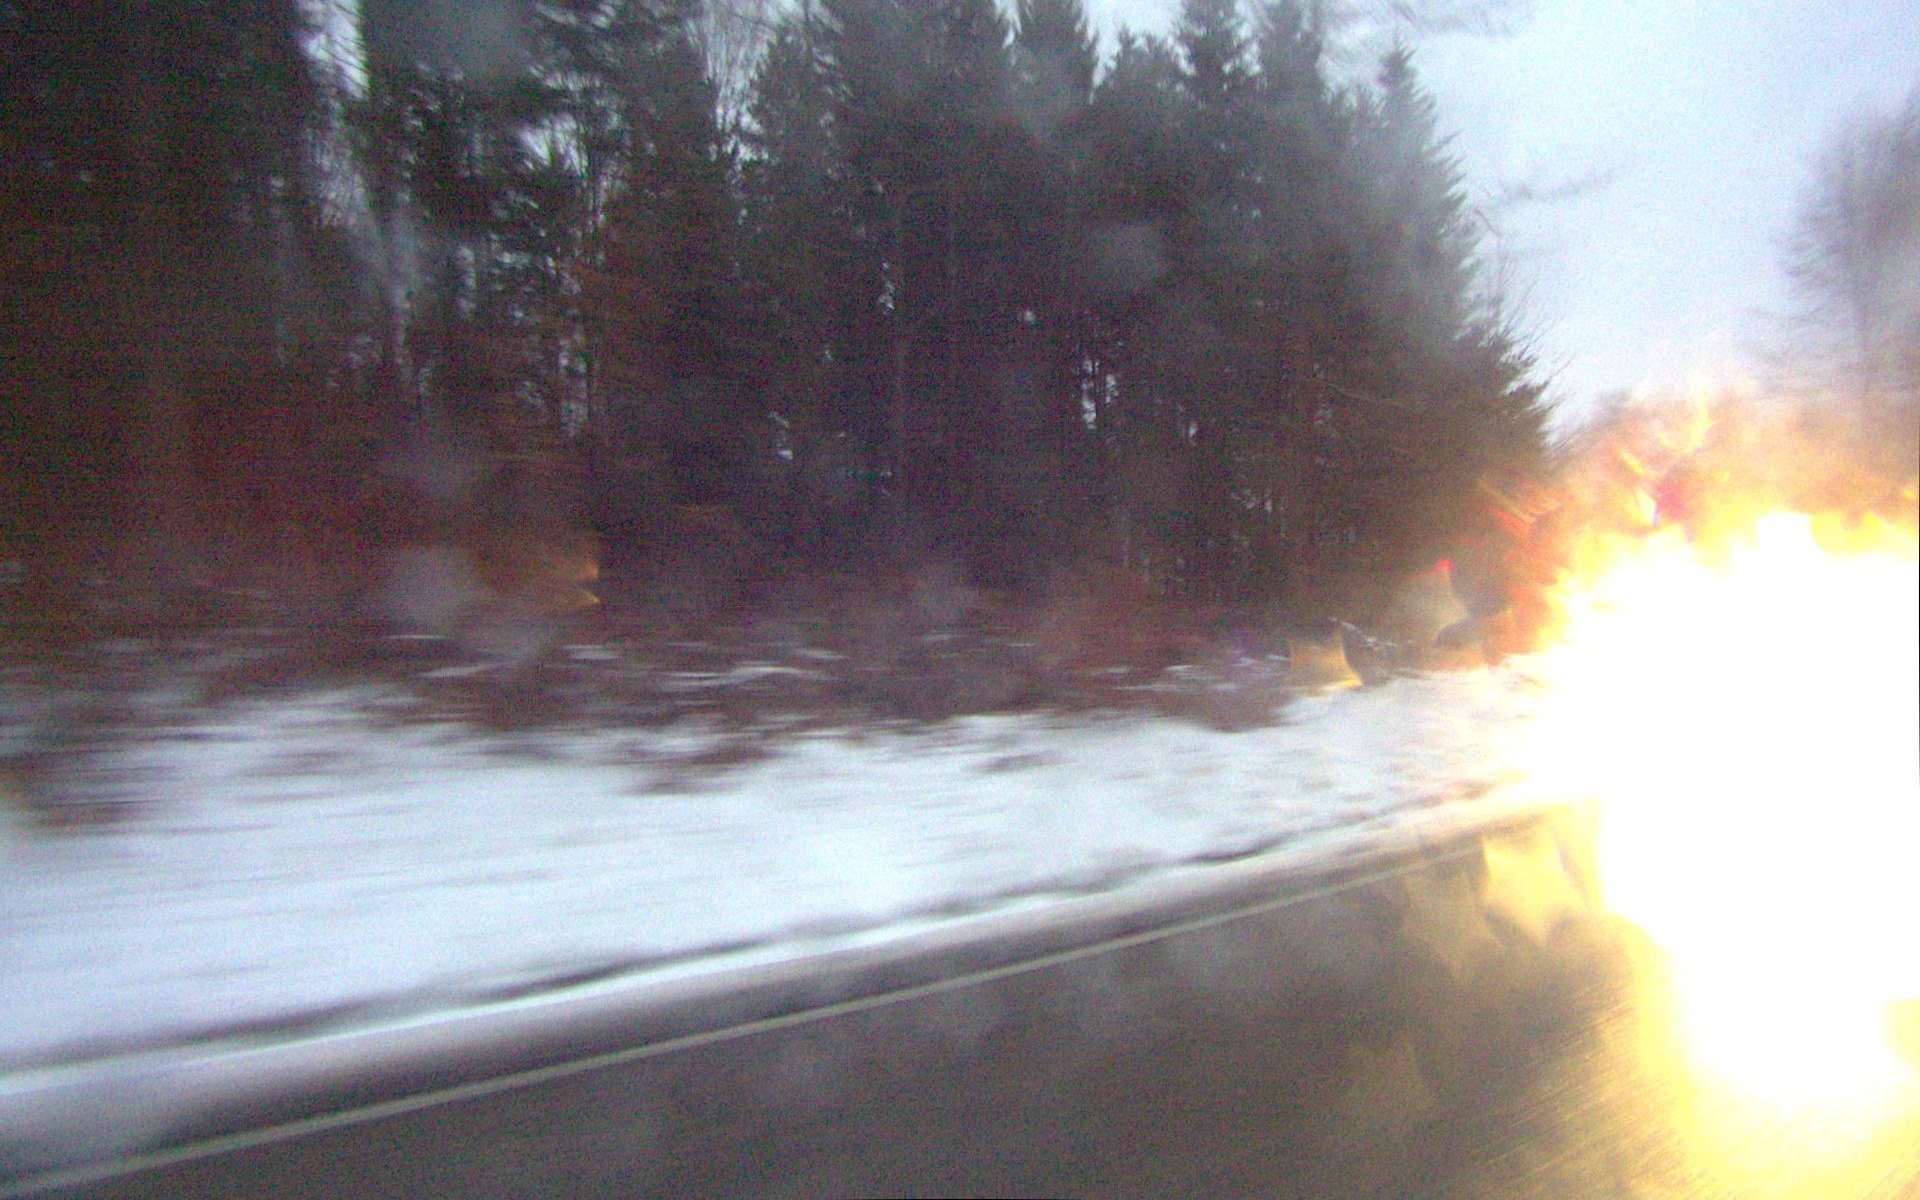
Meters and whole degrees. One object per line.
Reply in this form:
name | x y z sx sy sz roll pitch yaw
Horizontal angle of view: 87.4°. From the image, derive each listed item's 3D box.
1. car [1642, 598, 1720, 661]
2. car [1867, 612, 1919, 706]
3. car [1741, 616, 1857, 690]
car | 32.686 1.328 45.682 2.218 2.680 4.999 0 -1 28
car | 22.879 1.363 23.810 1.972 2.078 3.979 -3 -3 42
car | 19.287 1.170 23.252 1.752 1.512 4.531 -3 -2 37
